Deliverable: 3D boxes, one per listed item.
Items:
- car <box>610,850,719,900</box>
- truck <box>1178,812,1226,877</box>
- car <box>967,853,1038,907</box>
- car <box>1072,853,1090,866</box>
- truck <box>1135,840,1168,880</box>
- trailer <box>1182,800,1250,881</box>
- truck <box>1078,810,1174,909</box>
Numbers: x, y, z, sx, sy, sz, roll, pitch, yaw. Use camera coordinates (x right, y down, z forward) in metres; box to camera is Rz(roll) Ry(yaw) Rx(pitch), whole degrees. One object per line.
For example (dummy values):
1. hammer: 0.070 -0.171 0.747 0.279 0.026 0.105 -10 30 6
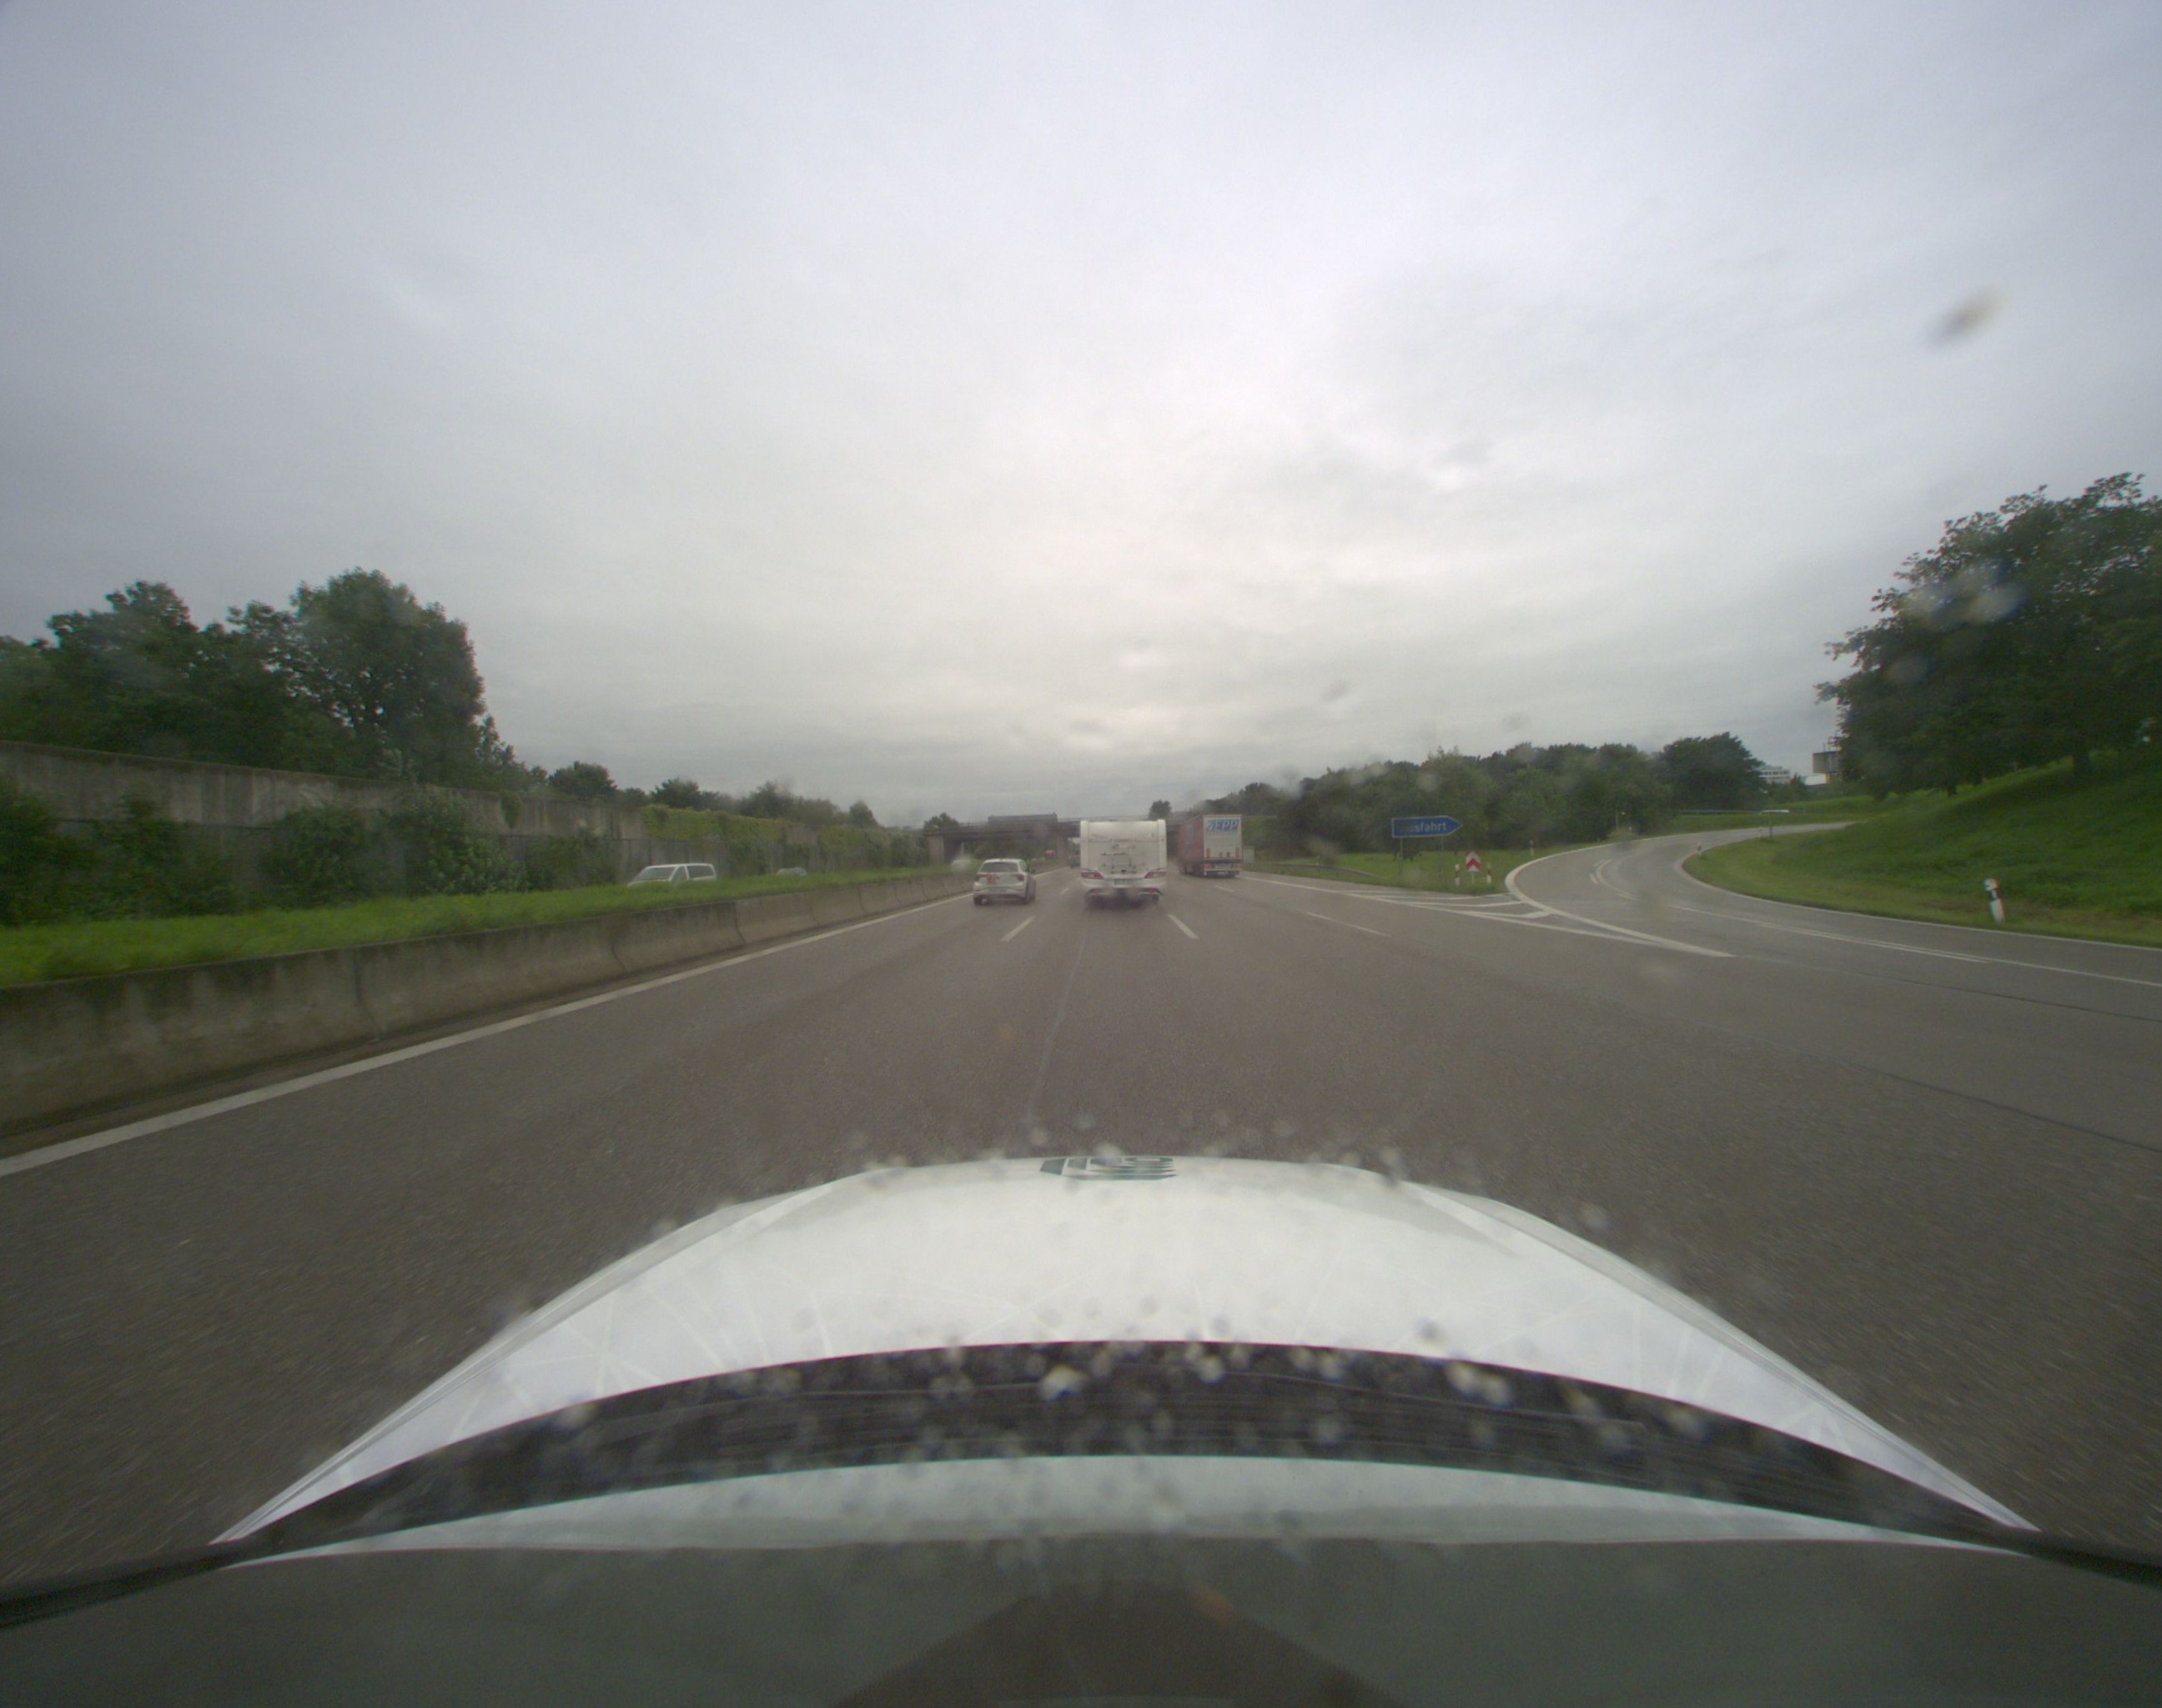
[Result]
1. car: -18.147 0.871 35.819 1.986 2.014 5.228 0 0 1
2. truck: 9.332 -0.683 63.476 3.036 4.839 5.853 0 -1 2
3. car: -2.515 0.789 27.222 1.746 1.618 4.666 -1 0 2
4. car: 0.016 0.709 105.711 1.985 1.600 5.127 0 0 3
5. truck: 5.106 0.416 59.670 2.045 2.770 5.550 0 -1 2
6. trailer: 9.063 -0.782 56.020 3.088 4.922 11.795 0 -1 2
7. truck: 1.324 0.168 25.258 2.651 2.742 5.079 0 -1 1
